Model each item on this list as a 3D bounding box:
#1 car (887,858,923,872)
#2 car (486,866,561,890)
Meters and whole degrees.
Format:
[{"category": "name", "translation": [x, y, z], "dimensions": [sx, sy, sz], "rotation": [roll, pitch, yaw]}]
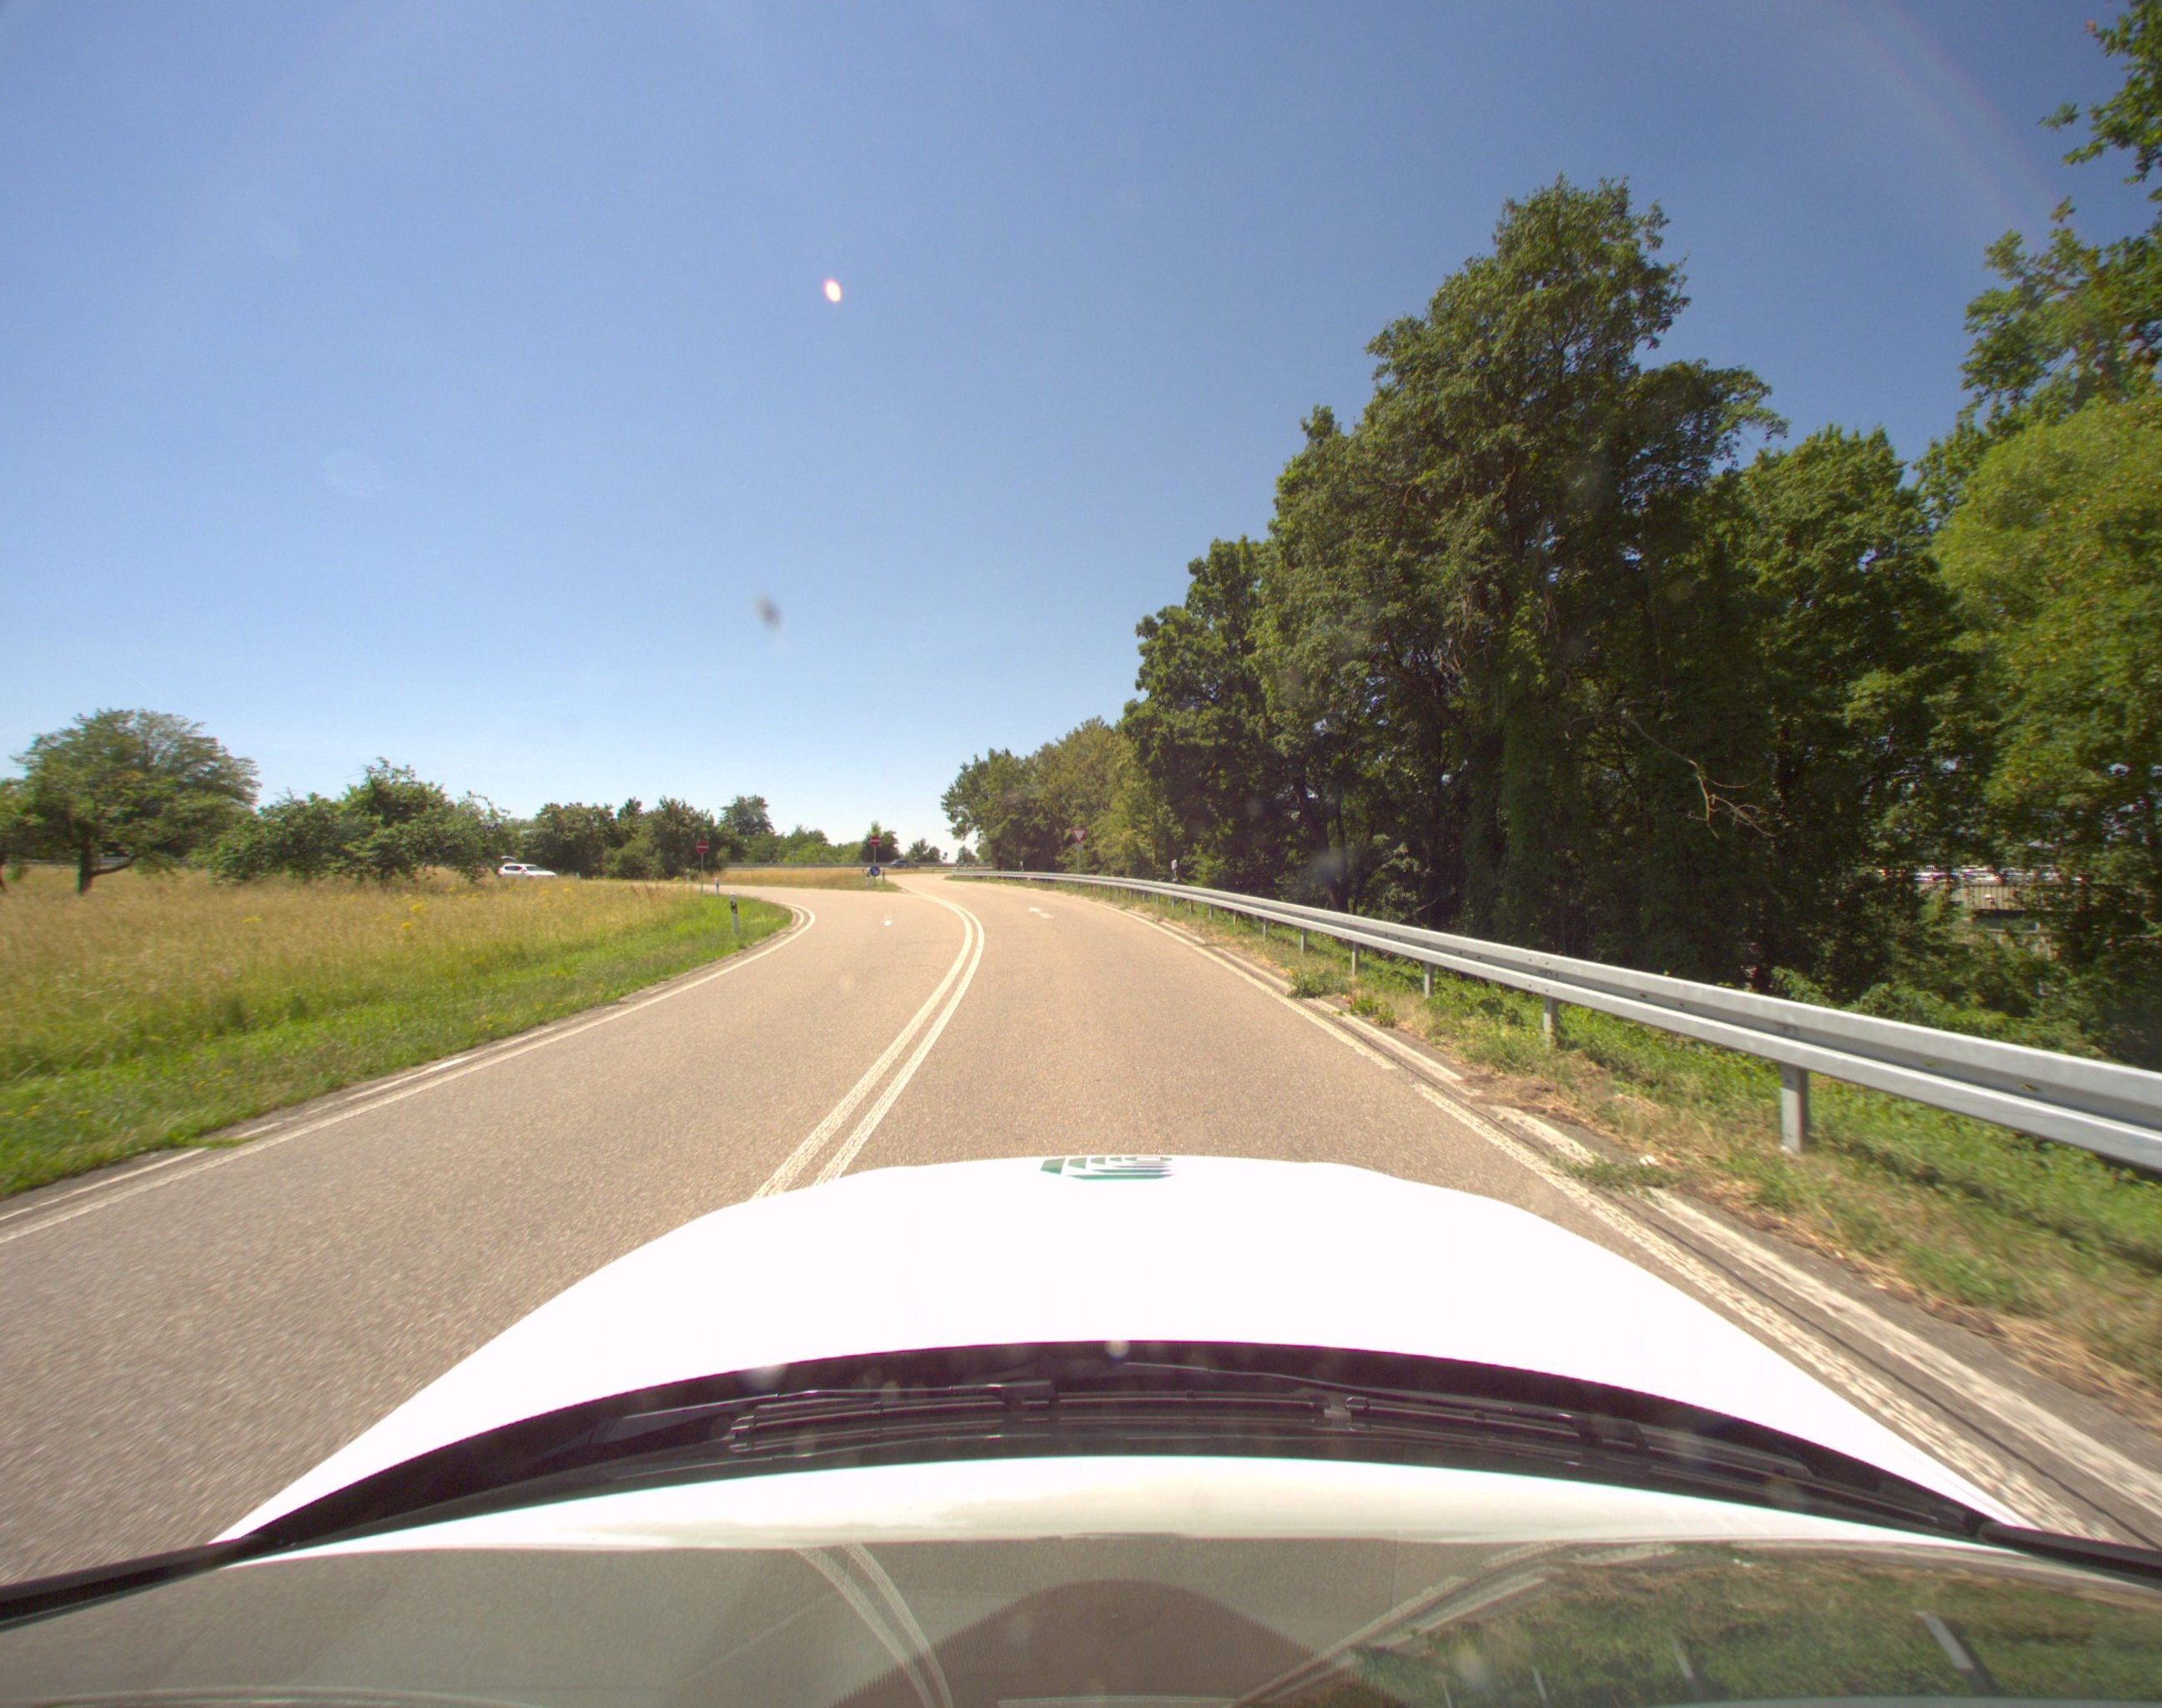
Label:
[{"category": "car", "translation": [-25.033, 1.574, 115.950], "dimensions": [4.551, 1.928, 1.976], "rotation": [3, -3, -40]}, {"category": "car", "translation": [-38.822, 1.674, 56.728], "dimensions": [4.109, 1.424, 1.857], "rotation": [-2, 1, 9]}]
